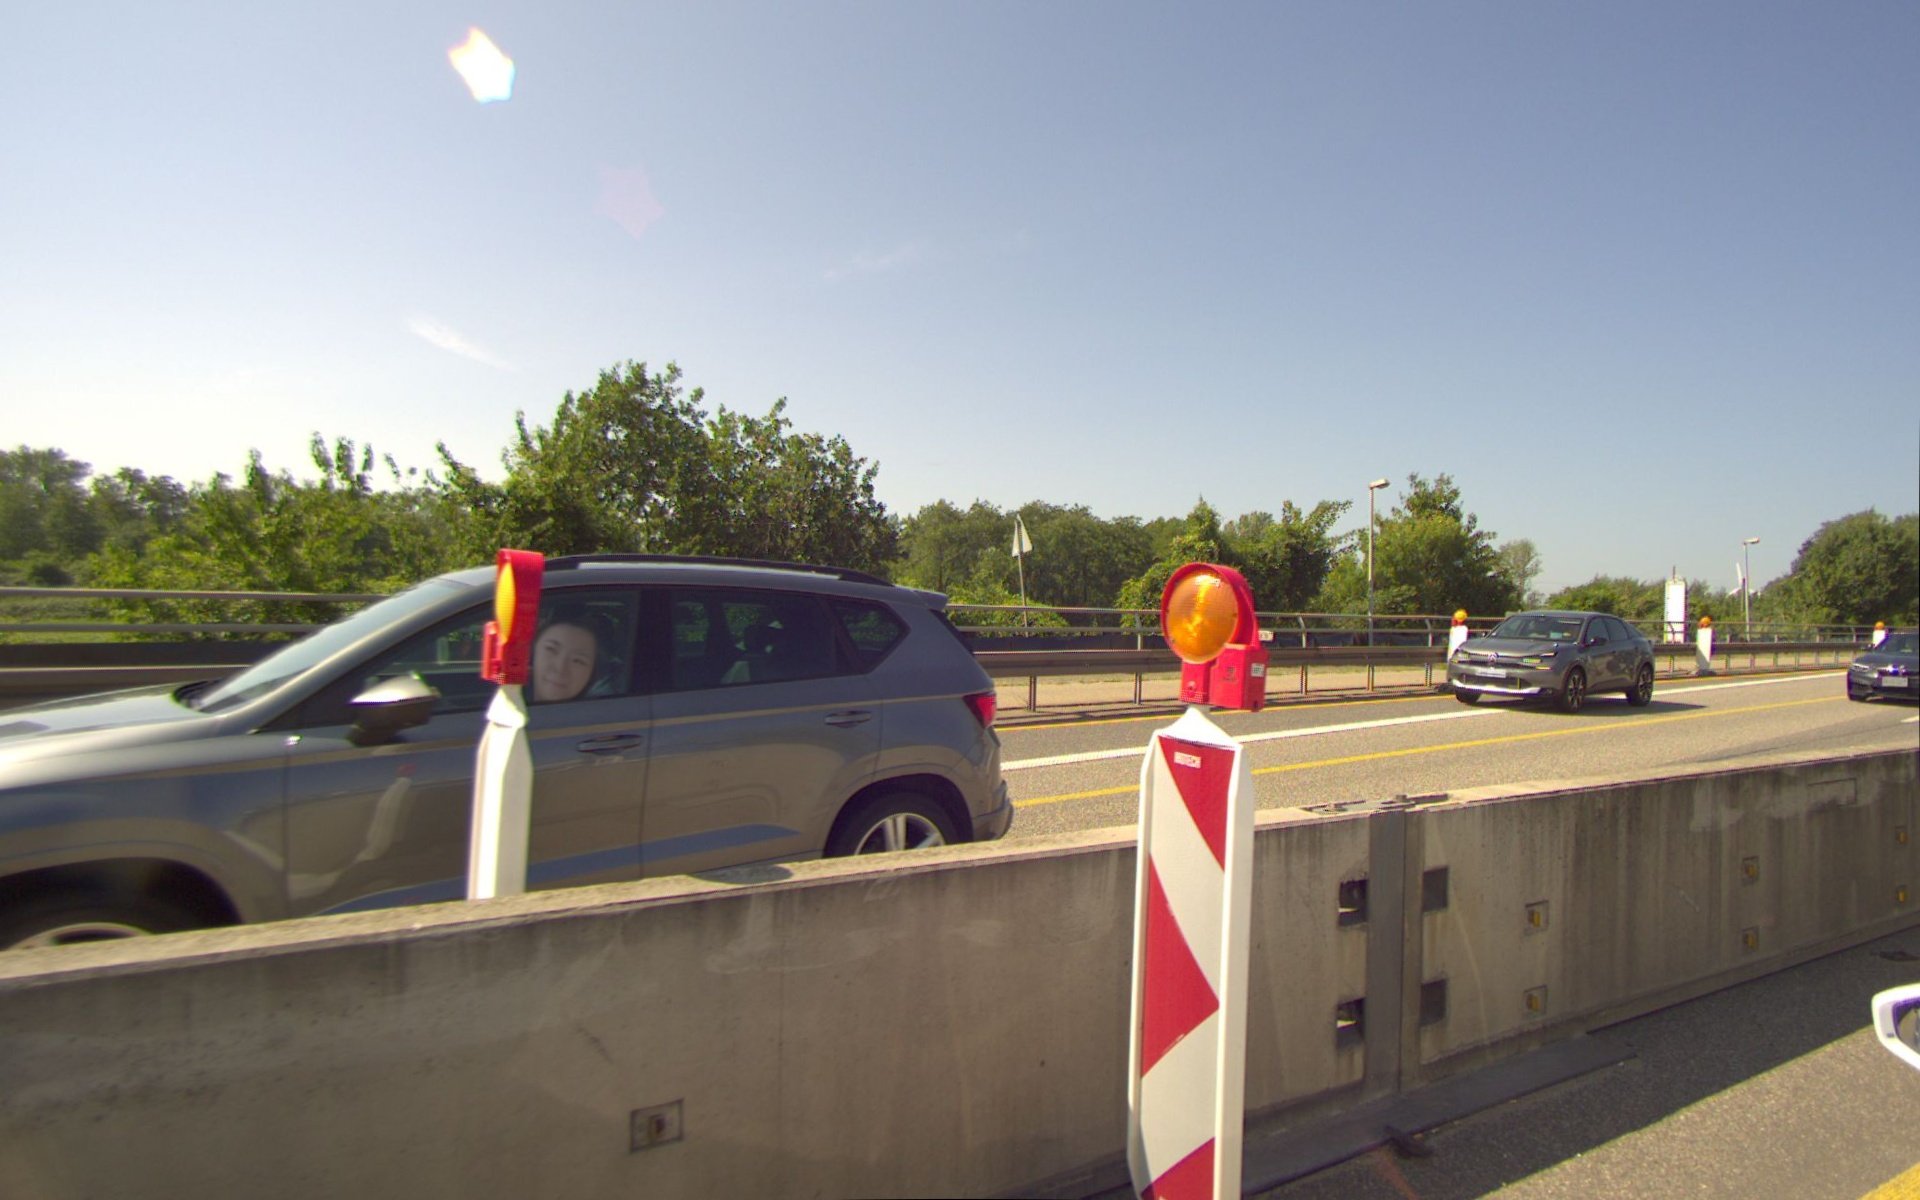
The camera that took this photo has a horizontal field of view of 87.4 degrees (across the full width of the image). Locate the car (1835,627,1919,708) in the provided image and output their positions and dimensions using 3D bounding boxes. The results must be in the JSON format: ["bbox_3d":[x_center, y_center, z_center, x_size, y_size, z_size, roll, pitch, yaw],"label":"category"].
[{"bbox_3d":[18.549,1.248,19.135,4.225,1.394,1.680,1,0,-32],"label":"car"}]

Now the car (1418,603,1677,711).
[{"bbox_3d":[9.675,0.861,16.442,4.422,1.528,1.921,1,0,-34],"label":"car"}]

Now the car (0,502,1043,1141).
[{"bbox_3d":[-1.690,0.574,4.120,3.836,1.589,1.777,1,0,-37],"label":"car"}]
